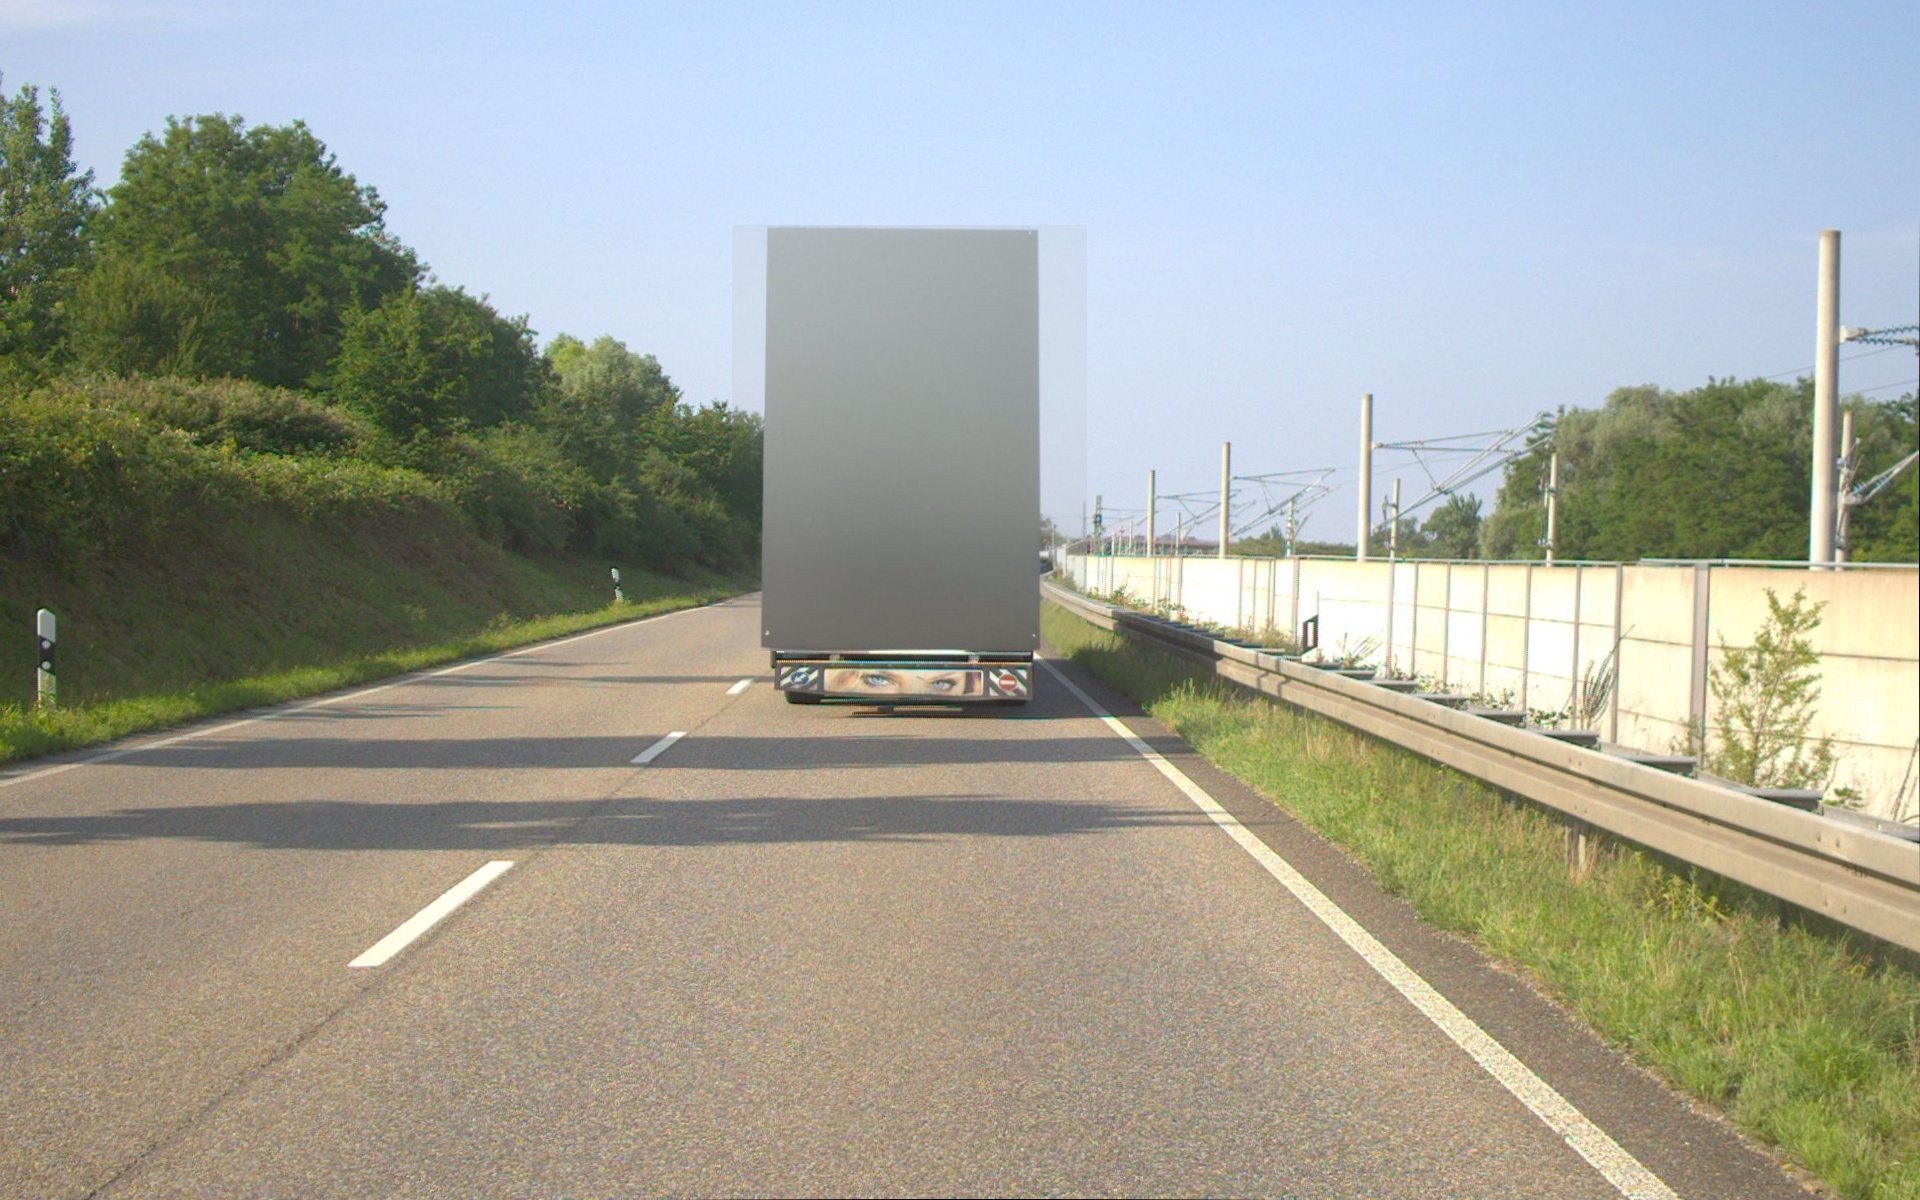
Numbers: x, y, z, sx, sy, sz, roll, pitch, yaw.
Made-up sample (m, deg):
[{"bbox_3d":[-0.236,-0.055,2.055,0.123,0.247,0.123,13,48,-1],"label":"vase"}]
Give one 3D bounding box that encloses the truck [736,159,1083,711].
[{"bbox_3d":[-0.628,-1.559,36.692,3.033,4.903,11.685,1,1,-2],"label":"truck"}]
